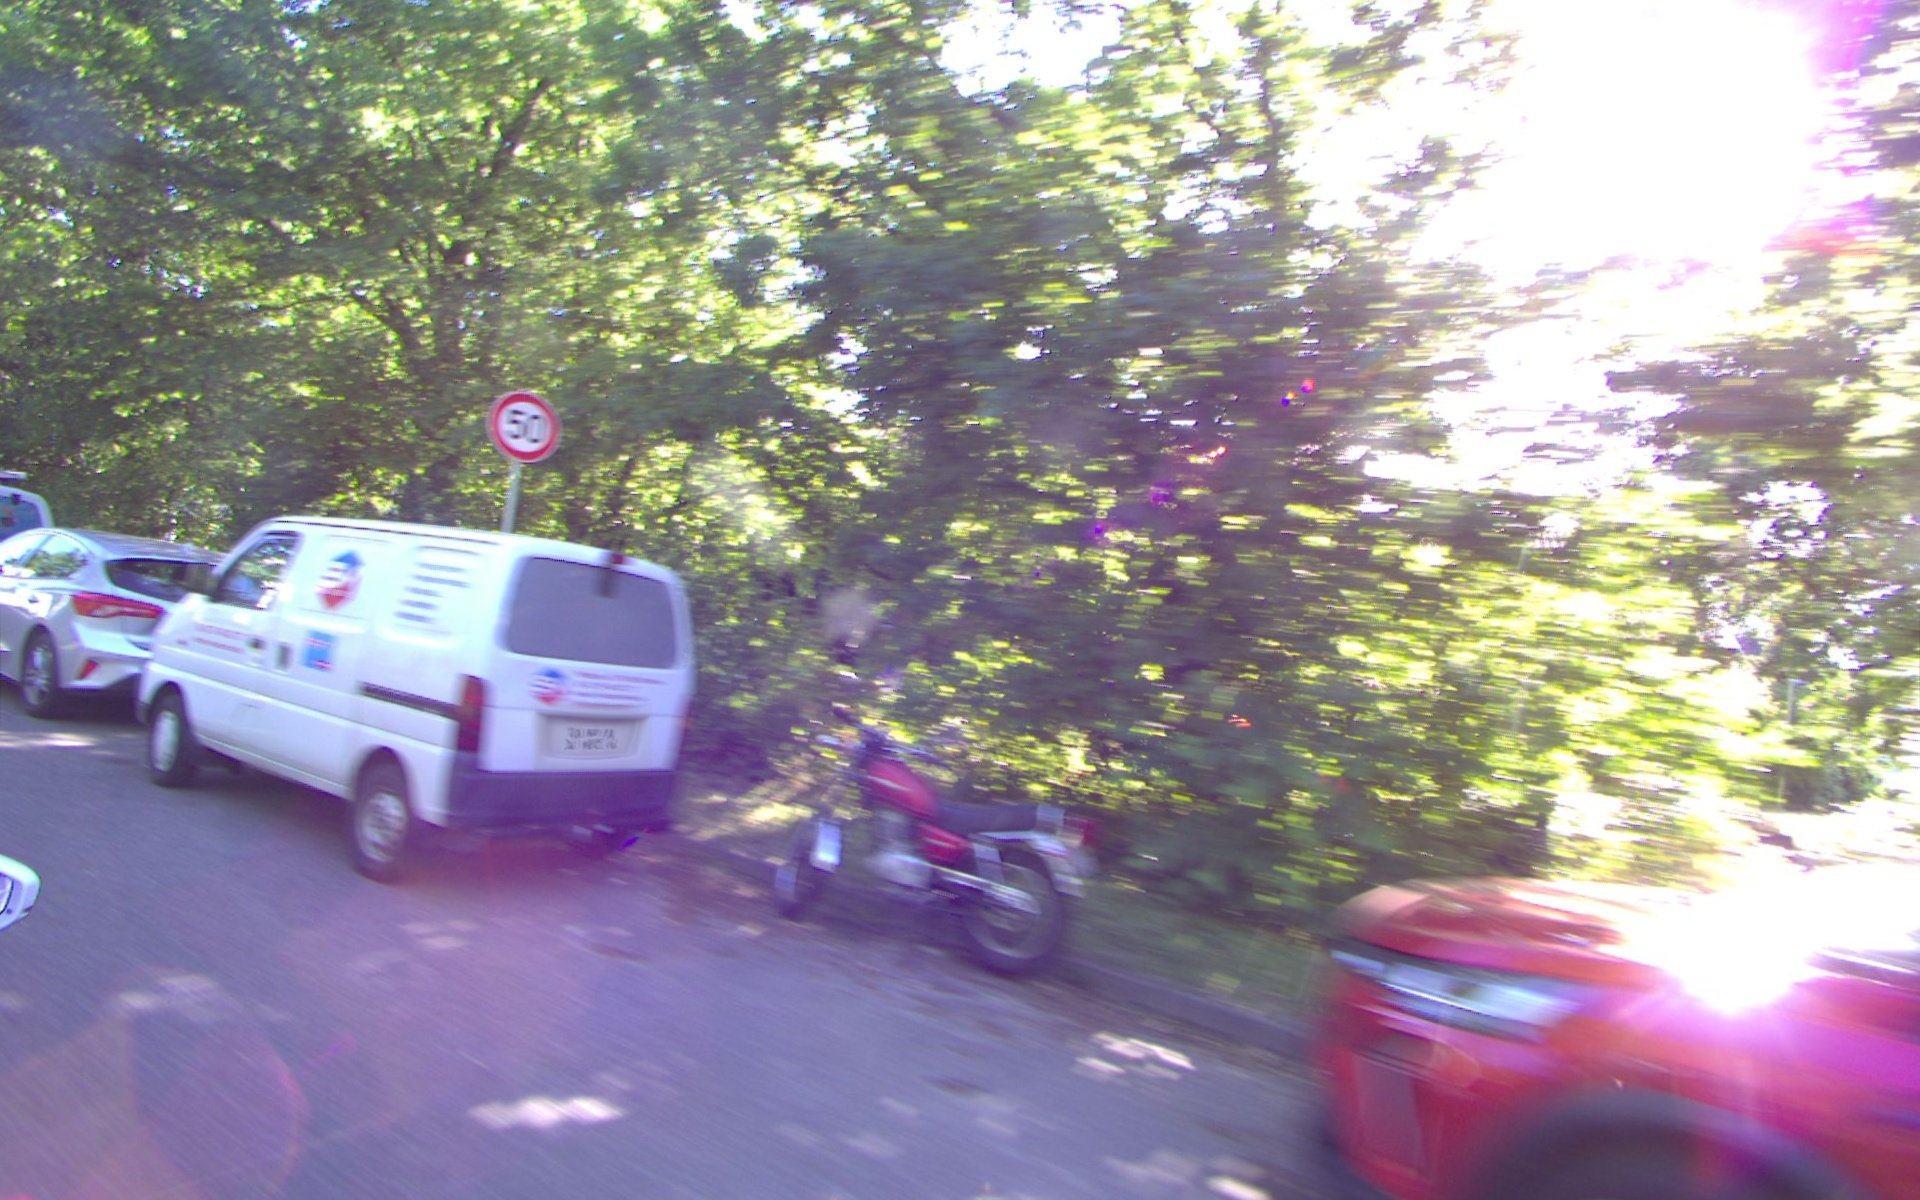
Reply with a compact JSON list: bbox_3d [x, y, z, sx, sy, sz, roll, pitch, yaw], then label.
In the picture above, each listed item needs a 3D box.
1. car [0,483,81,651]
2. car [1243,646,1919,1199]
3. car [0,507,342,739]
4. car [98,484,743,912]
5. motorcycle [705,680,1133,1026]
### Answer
[{"bbox_3d":[-12.770,-0.664,11.926,4.476,1.804,1.798,7,-4,27],"label":"car"},{"bbox_3d":[2.925,1.255,2.324,3.994,1.638,1.782,7,-4,29],"label":"car"},{"bbox_3d":[-7.591,0.102,8.907,4.135,1.528,1.697,7,-4,30],"label":"car"},{"bbox_3d":[-3.360,0.443,6.166,3.607,1.792,1.628,7,-4,30],"label":"car"},{"bbox_3d":[-0.255,1.157,5.090,2.001,1.209,0.649,6,-3,32],"label":"motorcycle"}]
